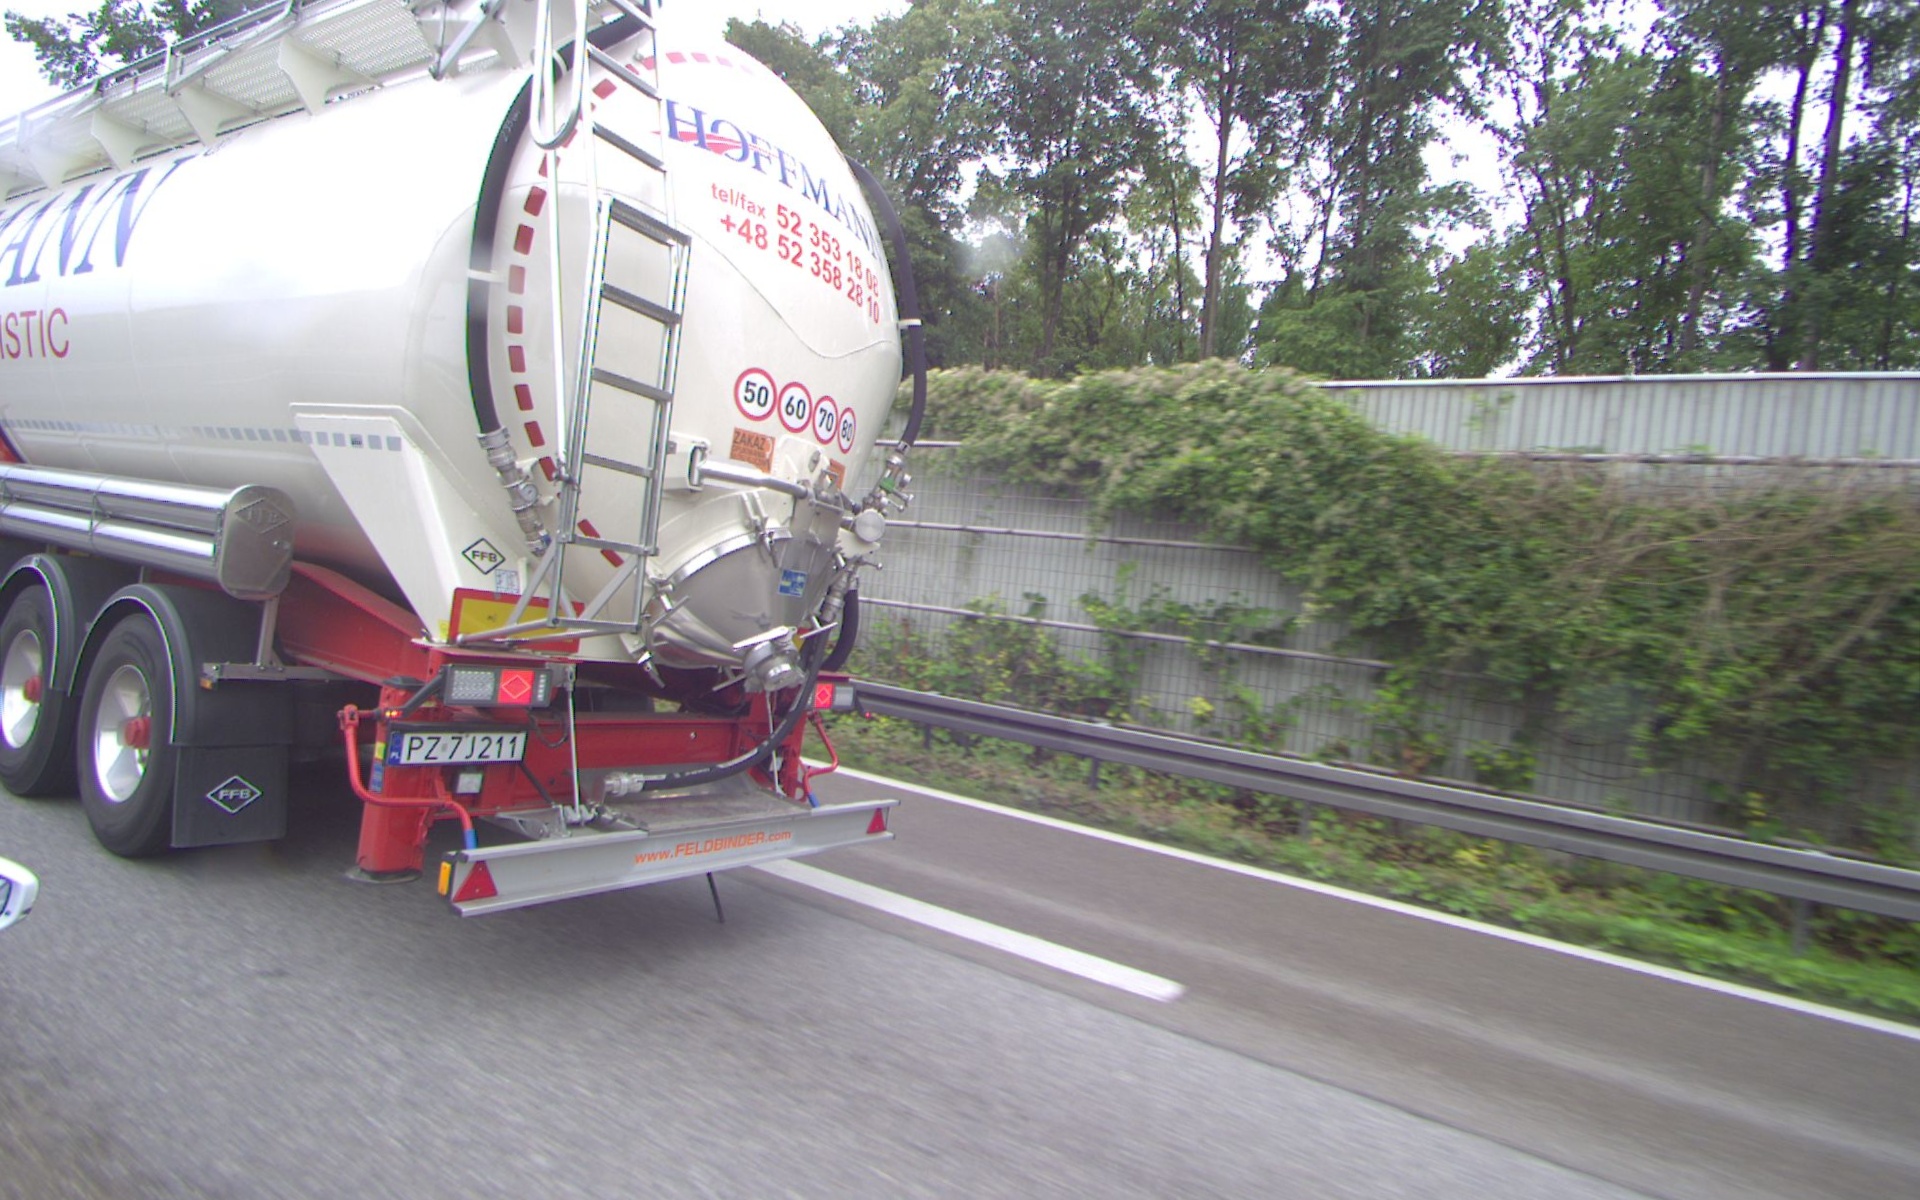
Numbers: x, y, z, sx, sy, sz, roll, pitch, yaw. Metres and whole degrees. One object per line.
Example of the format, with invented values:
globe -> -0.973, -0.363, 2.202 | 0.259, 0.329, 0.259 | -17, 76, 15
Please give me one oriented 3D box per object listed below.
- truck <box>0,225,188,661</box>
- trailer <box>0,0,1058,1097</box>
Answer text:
truck -> -11.635, -1.766, 11.026 | 6.449, 3.960, 2.698 | 7, 0, 33
trailer -> -5.859, -1.144, 7.383 | 12.913, 3.987, 2.671 | 7, 0, 32
